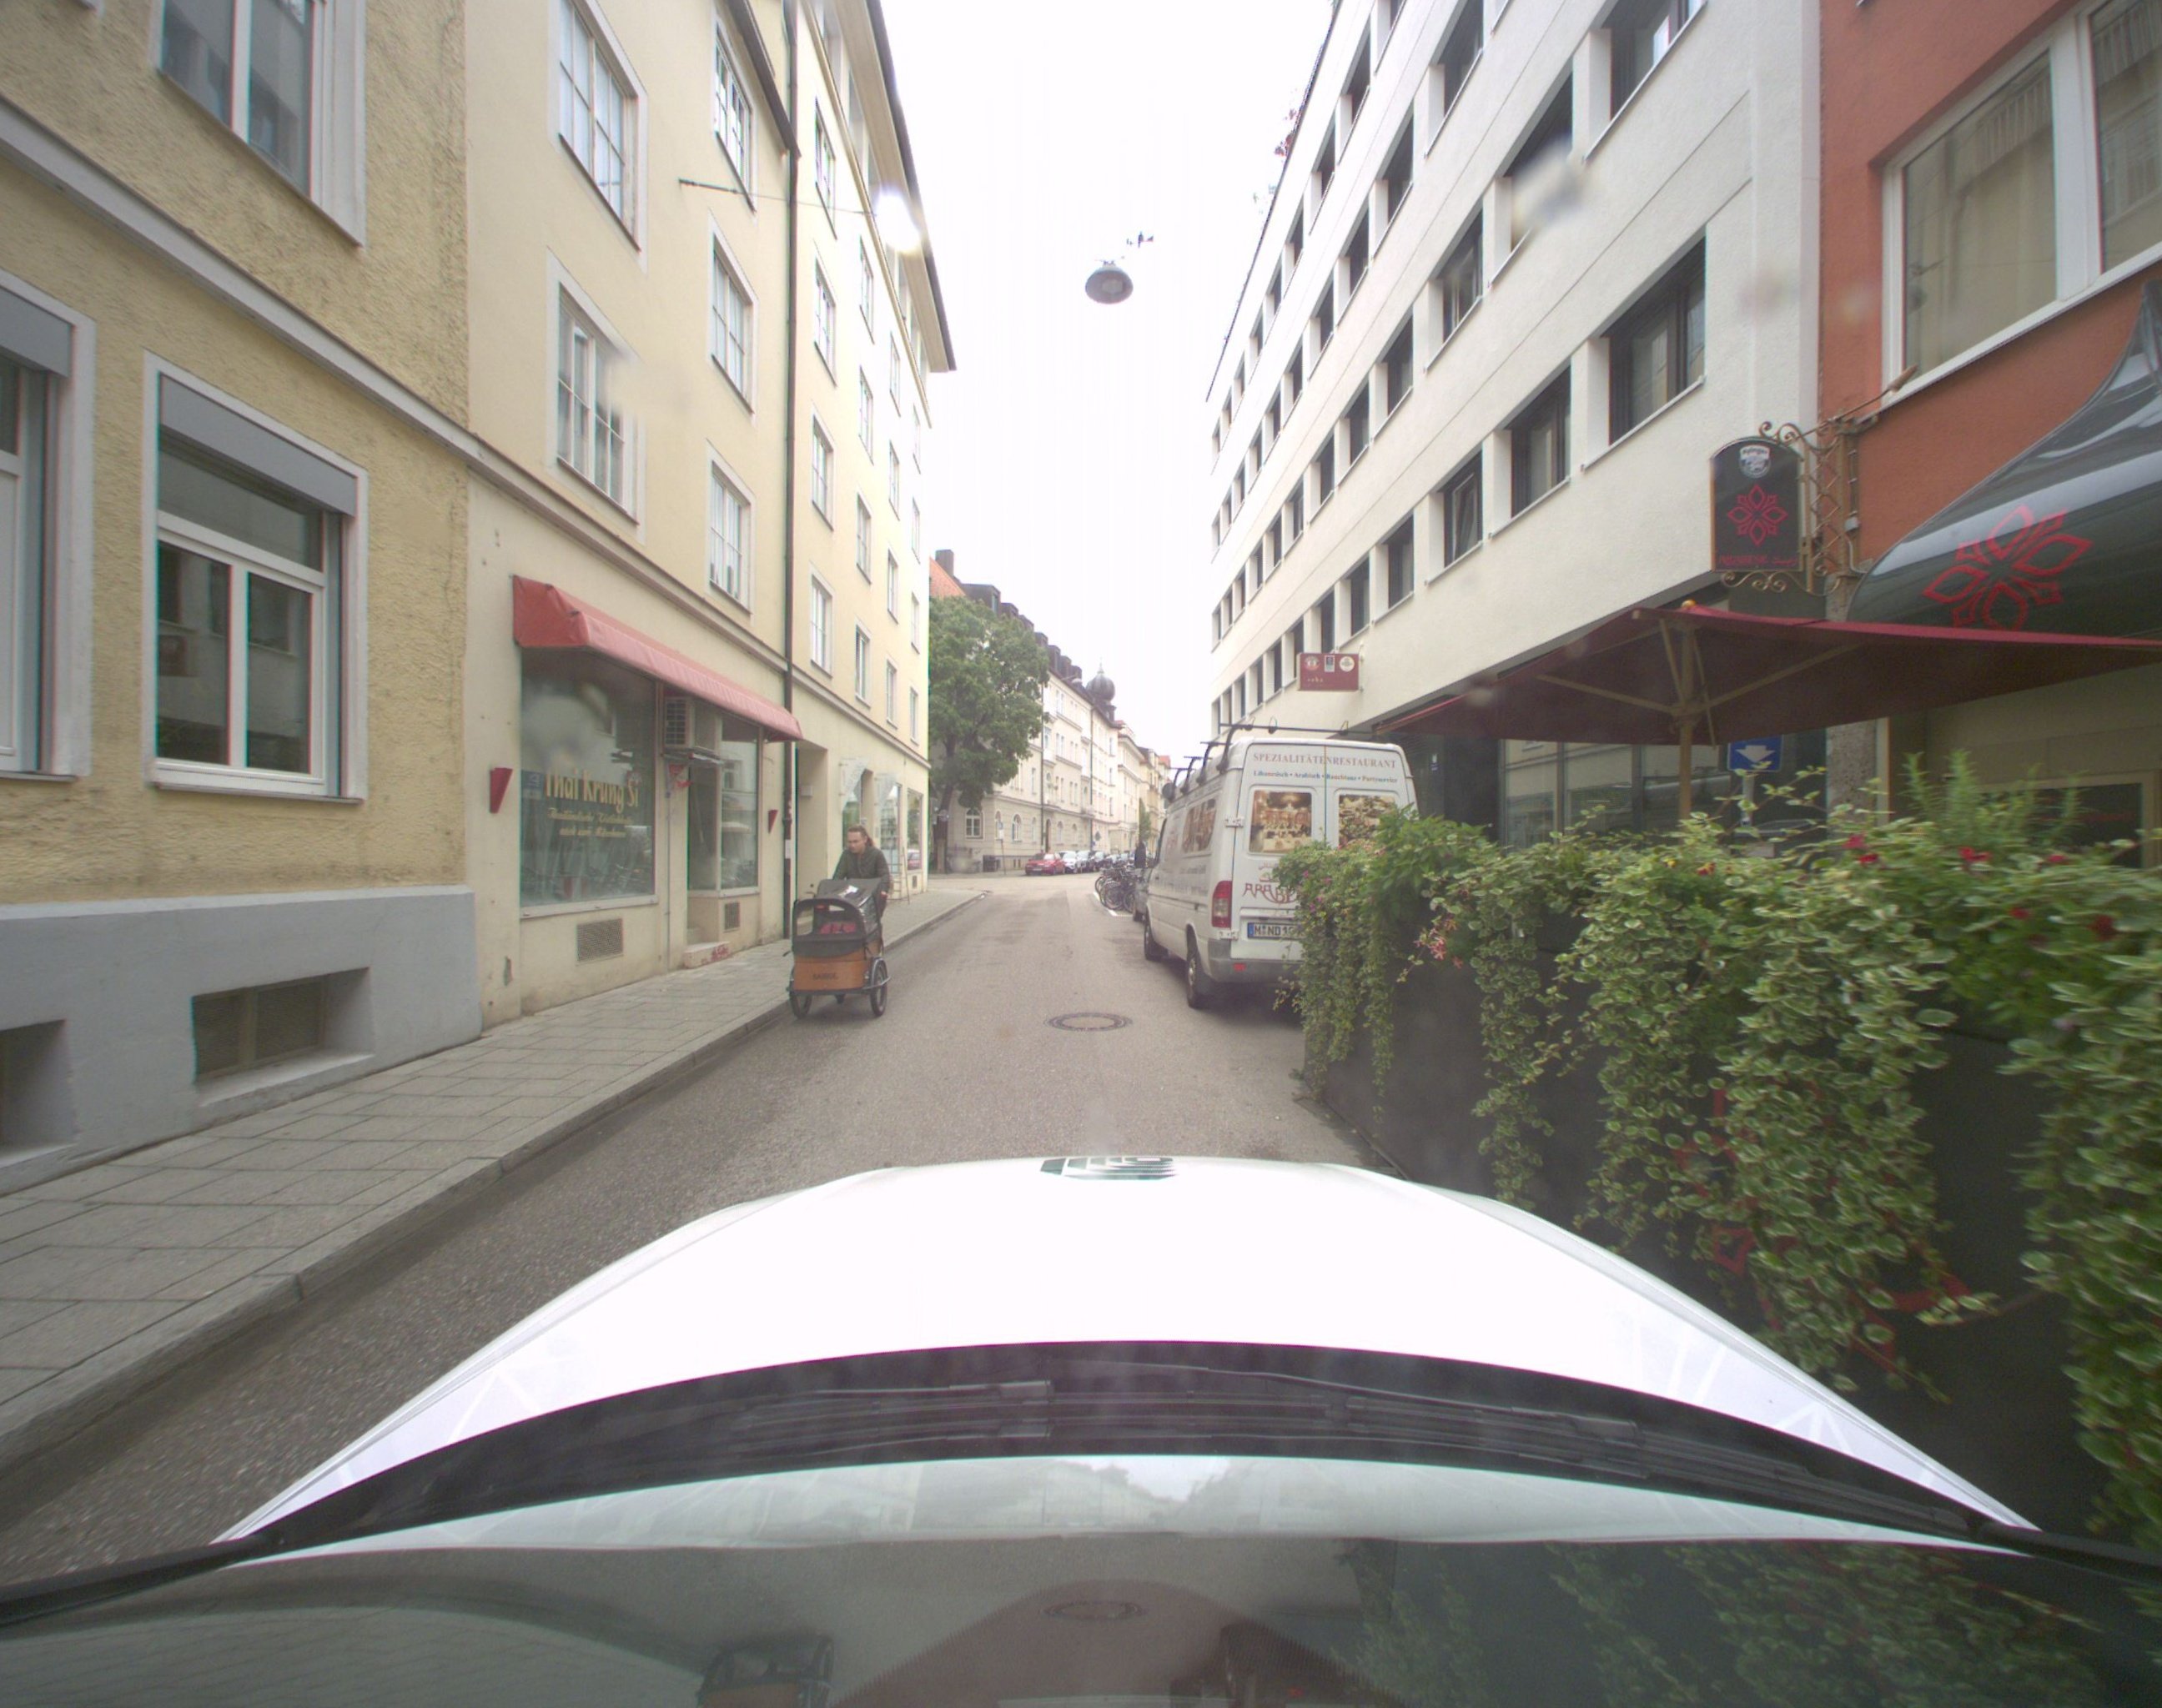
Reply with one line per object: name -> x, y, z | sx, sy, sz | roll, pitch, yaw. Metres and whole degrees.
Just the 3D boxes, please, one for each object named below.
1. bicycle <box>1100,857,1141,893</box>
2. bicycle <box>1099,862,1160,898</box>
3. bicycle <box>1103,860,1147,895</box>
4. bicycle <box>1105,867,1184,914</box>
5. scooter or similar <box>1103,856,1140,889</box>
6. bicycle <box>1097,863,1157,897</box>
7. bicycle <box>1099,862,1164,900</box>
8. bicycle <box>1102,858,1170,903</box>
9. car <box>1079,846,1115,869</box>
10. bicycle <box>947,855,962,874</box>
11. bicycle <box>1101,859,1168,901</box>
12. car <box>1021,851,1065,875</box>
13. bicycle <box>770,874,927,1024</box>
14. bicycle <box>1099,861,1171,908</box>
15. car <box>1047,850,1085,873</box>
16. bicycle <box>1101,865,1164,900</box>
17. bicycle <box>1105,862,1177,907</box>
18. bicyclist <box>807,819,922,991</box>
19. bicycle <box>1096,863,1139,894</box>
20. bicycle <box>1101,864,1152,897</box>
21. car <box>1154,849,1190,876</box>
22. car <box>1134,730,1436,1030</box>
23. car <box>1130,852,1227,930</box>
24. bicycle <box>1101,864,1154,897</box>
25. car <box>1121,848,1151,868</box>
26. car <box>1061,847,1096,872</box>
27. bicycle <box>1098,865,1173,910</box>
bicycle -> 1.431, 0.750, 29.591 | 1.452, 1.285, 0.445 | 1, 0, -1
bicycle -> 1.522, 0.814, 25.672 | 1.871, 1.079, 0.402 | 0, 1, -5
bicycle -> 1.518, 0.803, 28.133 | 1.450, 1.207, 0.394 | 1, 0, -10
bicycle -> 1.568, 0.898, 20.184 | 1.870, 1.079, 0.488 | 2, 1, -4
scooter or similar -> 1.513, 0.701, 30.391 | 1.348, 1.210, 0.417 | 0, 0, 0
bicycle -> 1.475, 0.824, 26.109 | 1.871, 1.079, 0.408 | 0, 1, -5
bicycle -> 1.498, 0.803, 24.270 | 1.871, 1.095, 0.439 | 0, 1, -5
bicycle -> 1.554, 0.741, 23.101 | 1.870, 1.204, 0.579 | -1, 0, -4
car -> 1.304, 0.291, 64.576 | 1.980, 1.738, 4.538 | 1, 0, 13
bicycle -> -7.449, 0.614, 48.102 | 0.491, 1.052, 1.829 | 0, 2, 4
bicycle -> 1.545, 0.744, 23.720 | 1.890, 1.170, 0.565 | 0, 0, -5
car -> -2.249, 0.515, 49.483 | 1.720, 1.378, 4.239 | 0, 0, 10
bicycle -> -2.272, 0.862, 8.375 | 0.929, 1.257, 2.413 | -1, 0, -1
bicycle -> 1.434, 0.806, 21.683 | 1.870, 1.204, 0.488 | 0, 1, -4
car -> -0.951, 0.465, 54.300 | 1.983, 1.473, 4.227 | 0, 0, 7
bicycle -> 1.578, 0.872, 24.976 | 1.871, 1.052, 0.563 | 0, -2, -5
bicycle -> 1.640, 0.844, 22.373 | 1.870, 1.157, 0.564 | 2, 1, -4
bicyclist -> -2.291, 0.509, 8.760 | 0.924, 1.721, 1.099 | -1, 0, -1
bicycle -> 1.269, 0.867, 28.576 | 1.450, 1.069, 0.462 | 1, 0, -10
bicycle -> 1.504, 0.883, 26.935 | 1.671, 1.079, 0.335 | 0, 1, -5
car -> 5.942, 0.539, 52.767 | 1.808, 1.636, 4.303 | 2, 0, 12
car -> 1.938, 0.212, 9.898 | 1.915, 2.506, 5.992 | 1, 0, -2
car -> 1.941, 0.694, 17.057 | 1.575, 1.464, 3.550 | 0, 0, -1
bicycle -> 1.550, 0.883, 27.351 | 1.737, 1.079, 0.451 | 0, 1, -5
car -> 4.597, 0.293, 67.060 | 1.945, 1.607, 4.322 | 0, 0, 11
car -> -0.134, 0.370, 59.400 | 1.931, 1.702, 4.010 | 1, 0, 9
bicycle -> 1.419, 0.862, 21.162 | 1.870, 1.108, 0.488 | 2, 1, -4
